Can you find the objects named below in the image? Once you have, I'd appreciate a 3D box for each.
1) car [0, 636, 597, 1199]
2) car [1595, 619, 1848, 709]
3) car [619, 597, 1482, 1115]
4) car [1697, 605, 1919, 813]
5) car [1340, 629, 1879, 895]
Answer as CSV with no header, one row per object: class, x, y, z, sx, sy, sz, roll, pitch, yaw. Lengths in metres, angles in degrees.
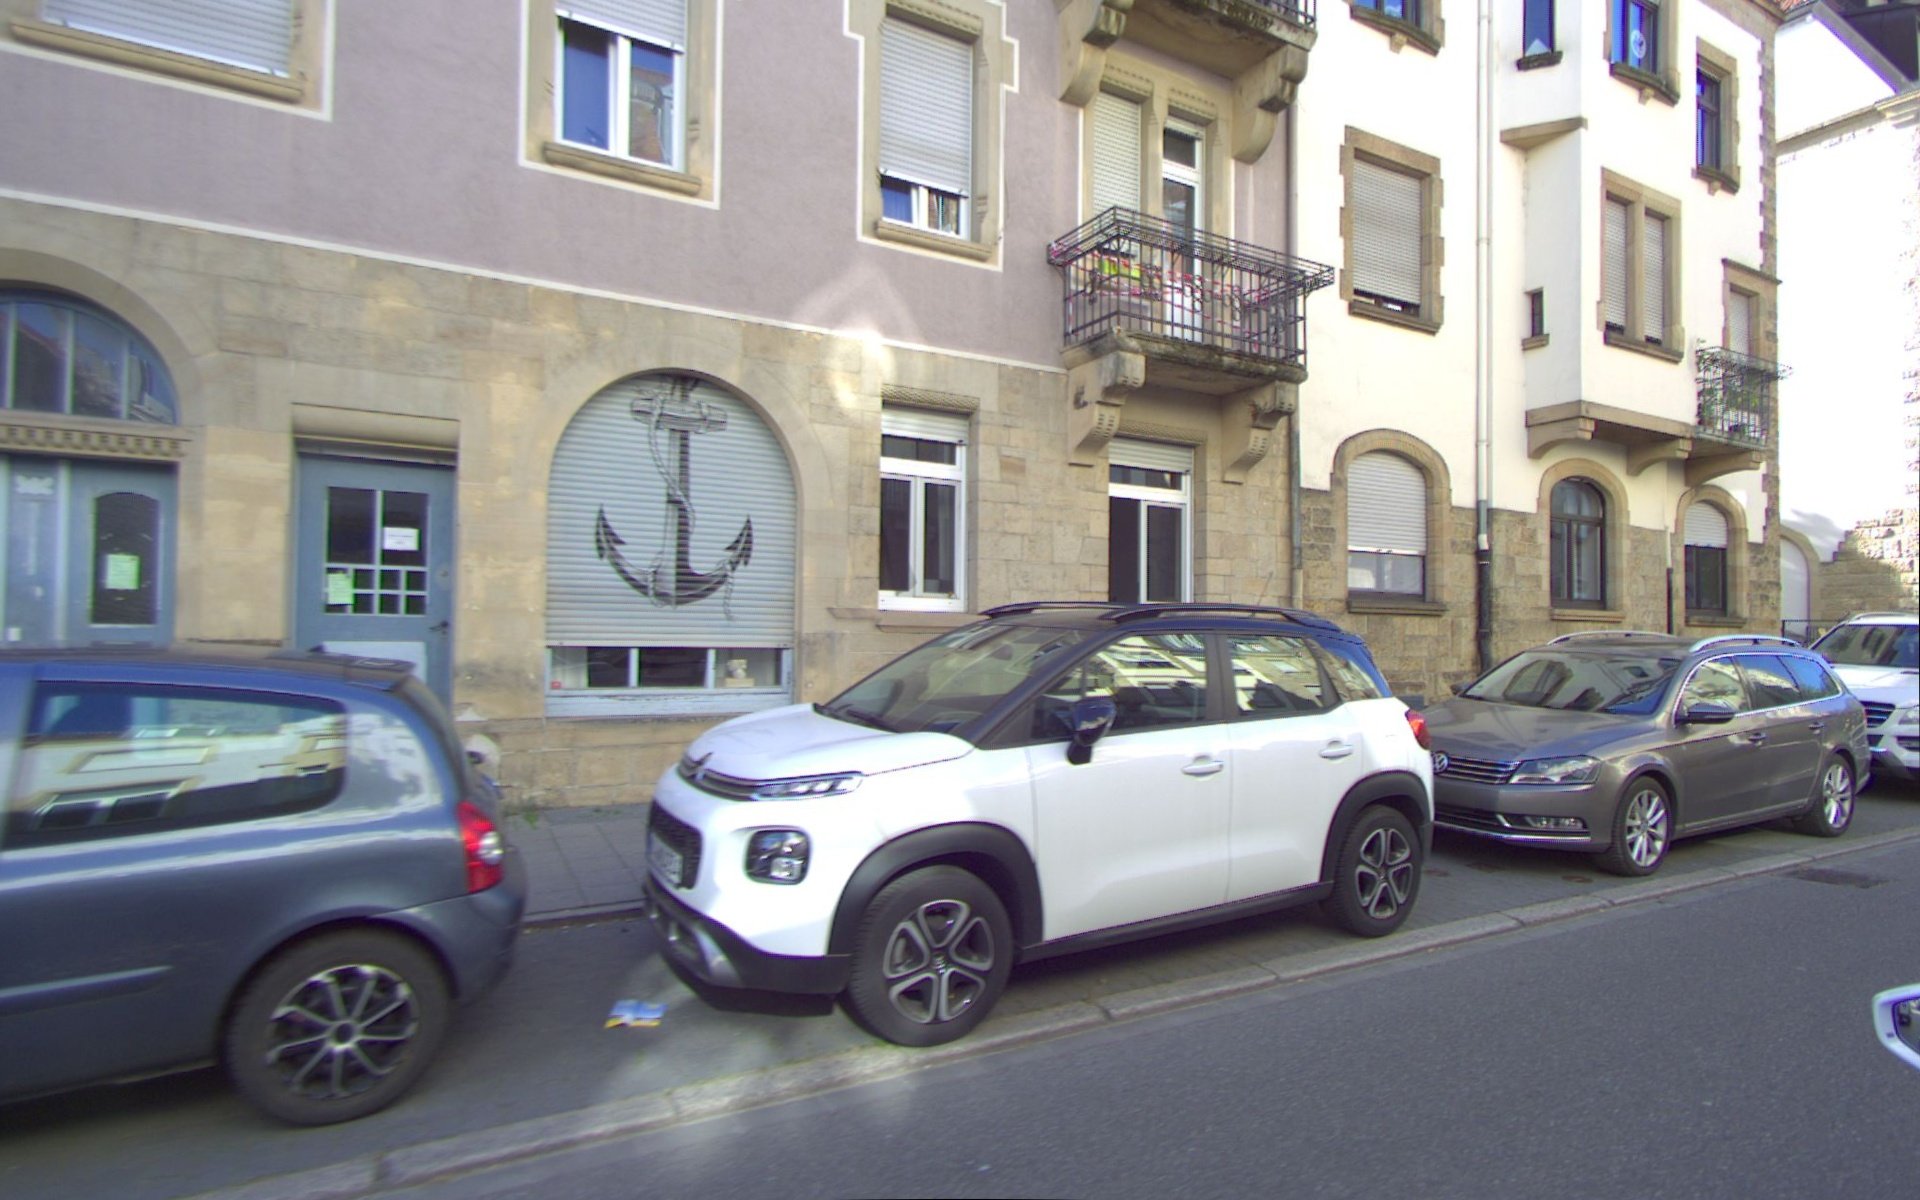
car,-3.182,0.867,3.100,3.625,1.412,1.663,1,1,-31
car,16.327,1.336,21.754,1.886,1.750,3.951,1,-2,-29
car,0.562,0.851,4.946,3.974,1.604,1.706,1,1,-31
car,10.041,1.024,10.481,4.666,1.745,1.884,2,1,-28
car,4.966,1.002,7.547,4.227,1.507,1.567,1,0,-28
